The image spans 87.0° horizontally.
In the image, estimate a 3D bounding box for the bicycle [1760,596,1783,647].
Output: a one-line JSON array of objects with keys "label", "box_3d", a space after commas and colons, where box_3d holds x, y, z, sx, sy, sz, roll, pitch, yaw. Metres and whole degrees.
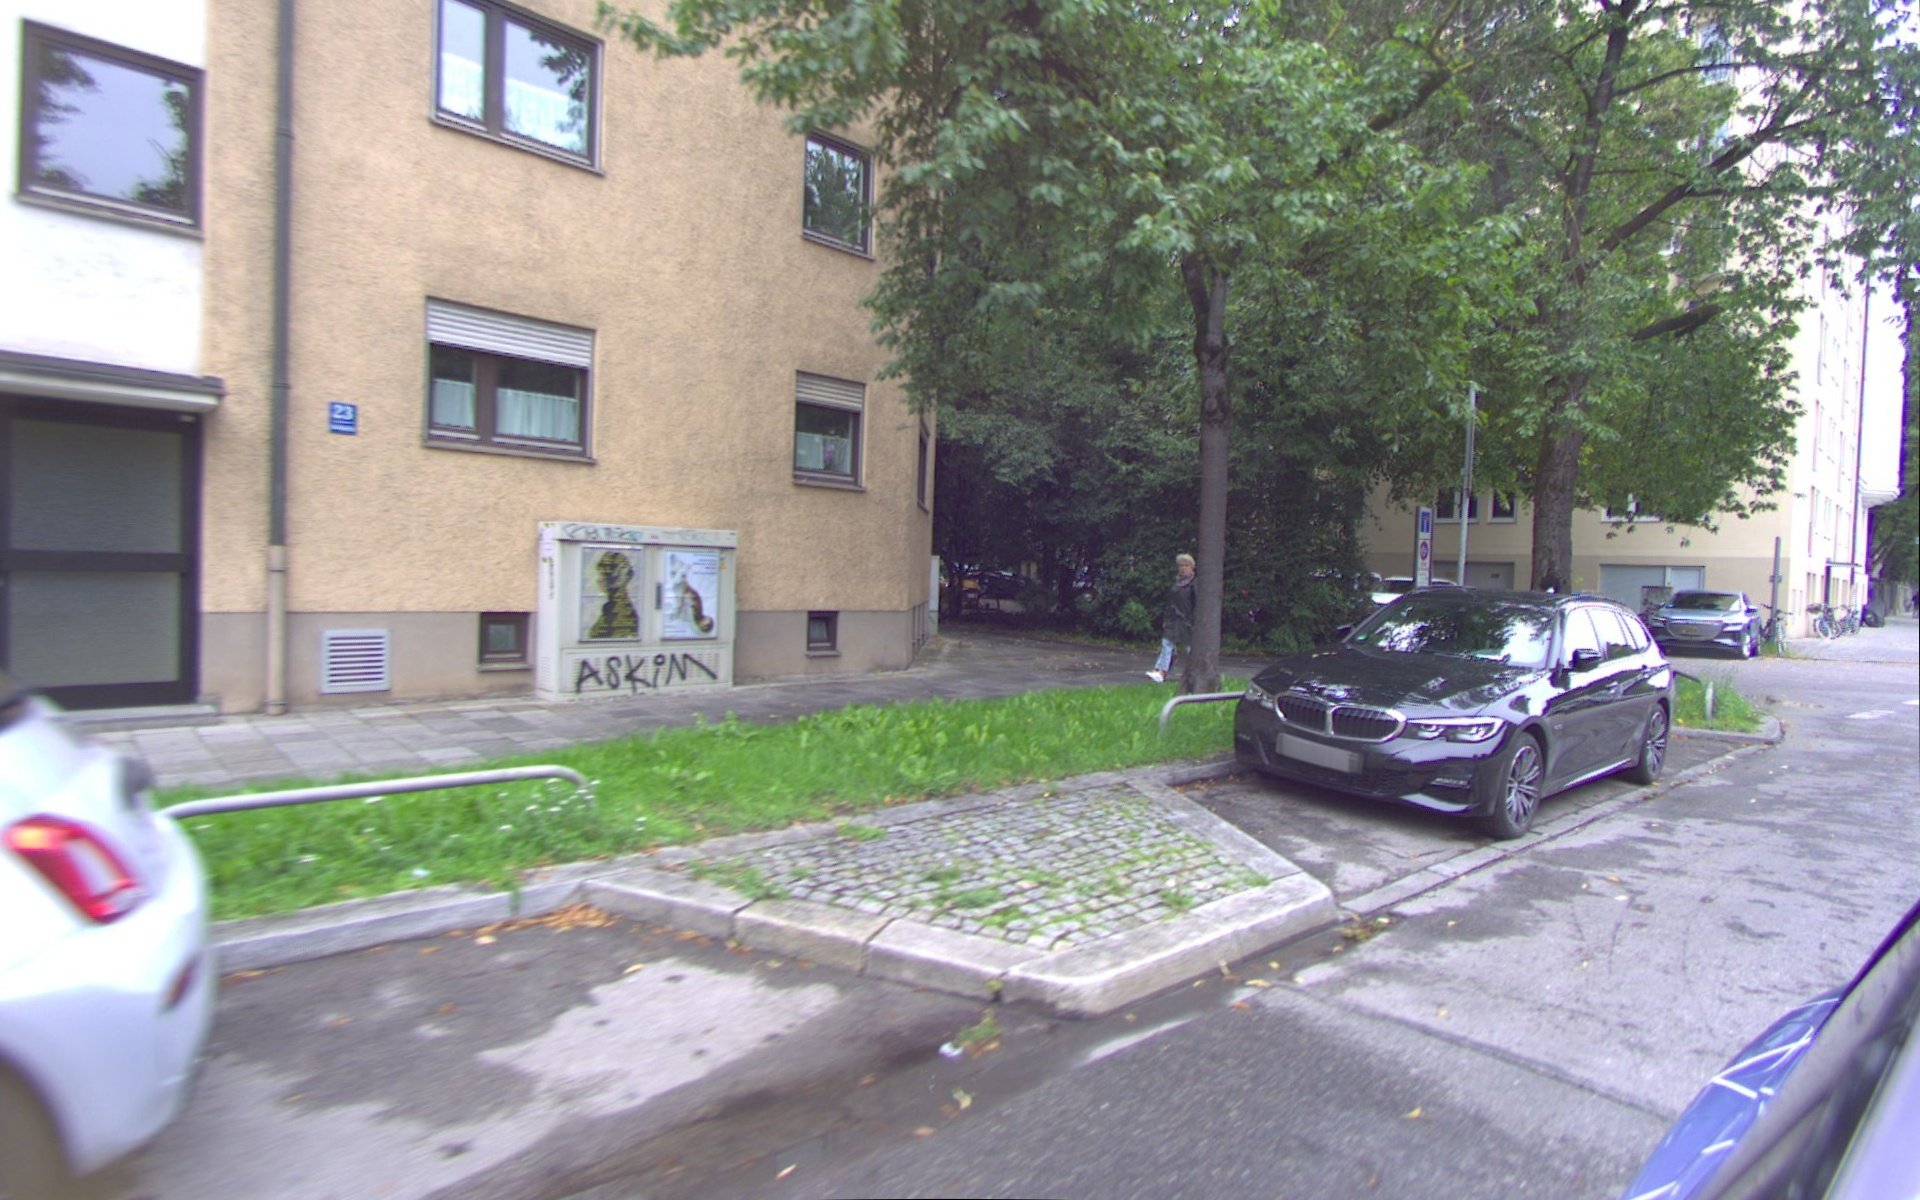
[{"label": "bicycle", "box_3d": [20.799, 0.541, 25.934, 1.218, 1.246, 0.282, 0, 2, -45]}]

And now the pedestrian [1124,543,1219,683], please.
[{"label": "pedestrian", "box_3d": [2.615, 0.135, 12.501, 0.963, 1.643, 0.672, -1, 2, -40]}]

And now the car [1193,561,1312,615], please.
[{"label": "car", "box_3d": [9.593, -0.391, 33.076, 4.176, 1.619, 1.914, 0, 3, -45]}]

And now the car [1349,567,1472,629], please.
[{"label": "car", "box_3d": [13.238, -0.070, 29.639, 1.913, 1.640, 4.177, 4, 3, 44]}]

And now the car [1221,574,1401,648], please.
[{"label": "car", "box_3d": [8.347, 0.204, 24.265, 1.703, 1.515, 3.705, 0, 2, -40]}]

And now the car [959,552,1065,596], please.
[{"label": "car", "box_3d": [2.103, -1.081, 41.600, 4.026, 1.623, 1.907, 2, 2, -6]}]

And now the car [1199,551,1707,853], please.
[{"label": "car", "box_3d": [3.833, 0.520, 7.503, 4.300, 1.514, 1.796, 0, 5, -42]}]

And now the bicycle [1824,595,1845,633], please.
[{"label": "bicycle", "box_3d": [28.226, 0.435, 32.669, 0.362, 1.185, 1.302, 3, 2, 36]}]

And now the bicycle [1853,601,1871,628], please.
[{"label": "bicycle", "box_3d": [34.546, 0.555, 38.761, 0.461, 1.017, 1.299, 3, 2, 43]}]

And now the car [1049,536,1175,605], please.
[{"label": "car", "box_3d": [5.578, -1.084, 37.216, 4.092, 2.342, 1.909, 1, 2, -20]}]

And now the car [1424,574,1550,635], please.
[{"label": "car", "box_3d": [14.537, 0.101, 27.822, 1.913, 1.485, 4.177, 4, 3, 44]}]

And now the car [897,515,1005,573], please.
[{"label": "car", "box_3d": [-0.426, -2.536, 46.124, 4.594, 2.441, 1.983, 2, 2, -9]}]

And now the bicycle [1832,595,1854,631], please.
[{"label": "bicycle", "box_3d": [29.627, 0.429, 33.967, 0.399, 1.185, 1.302, 3, 2, 36]}]

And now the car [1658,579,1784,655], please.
[{"label": "car", "box_3d": [18.133, 0.347, 24.057, 1.821, 1.584, 4.177, 4, 3, 44]}]

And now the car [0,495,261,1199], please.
[{"label": "car", "box_3d": [-3.383, 0.510, 1.460, 3.754, 1.514, 1.632, 0, 3, -41]}]

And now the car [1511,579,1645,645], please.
[{"label": "car", "box_3d": [16.100, 0.270, 26.284, 2.049, 1.485, 4.177, 4, 3, 44]}]

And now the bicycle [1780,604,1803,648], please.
[{"label": "bicycle", "box_3d": [21.054, 0.645, 25.625, 1.218, 1.074, 0.282, 0, 2, -45]}]

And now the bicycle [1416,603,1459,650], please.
[{"label": "bicycle", "box_3d": [9.381, 0.515, 19.871, 1.059, 0.891, 0.250, 1, 2, -35]}]

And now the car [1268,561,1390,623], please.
[{"label": "car", "box_3d": [11.563, -0.255, 31.592, 4.176, 1.772, 1.914, 0, 3, -45]}]

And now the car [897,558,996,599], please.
[{"label": "car", "box_3d": [-0.616, -0.929, 43.619, 4.025, 1.623, 1.907, 1, 2, -8]}]
